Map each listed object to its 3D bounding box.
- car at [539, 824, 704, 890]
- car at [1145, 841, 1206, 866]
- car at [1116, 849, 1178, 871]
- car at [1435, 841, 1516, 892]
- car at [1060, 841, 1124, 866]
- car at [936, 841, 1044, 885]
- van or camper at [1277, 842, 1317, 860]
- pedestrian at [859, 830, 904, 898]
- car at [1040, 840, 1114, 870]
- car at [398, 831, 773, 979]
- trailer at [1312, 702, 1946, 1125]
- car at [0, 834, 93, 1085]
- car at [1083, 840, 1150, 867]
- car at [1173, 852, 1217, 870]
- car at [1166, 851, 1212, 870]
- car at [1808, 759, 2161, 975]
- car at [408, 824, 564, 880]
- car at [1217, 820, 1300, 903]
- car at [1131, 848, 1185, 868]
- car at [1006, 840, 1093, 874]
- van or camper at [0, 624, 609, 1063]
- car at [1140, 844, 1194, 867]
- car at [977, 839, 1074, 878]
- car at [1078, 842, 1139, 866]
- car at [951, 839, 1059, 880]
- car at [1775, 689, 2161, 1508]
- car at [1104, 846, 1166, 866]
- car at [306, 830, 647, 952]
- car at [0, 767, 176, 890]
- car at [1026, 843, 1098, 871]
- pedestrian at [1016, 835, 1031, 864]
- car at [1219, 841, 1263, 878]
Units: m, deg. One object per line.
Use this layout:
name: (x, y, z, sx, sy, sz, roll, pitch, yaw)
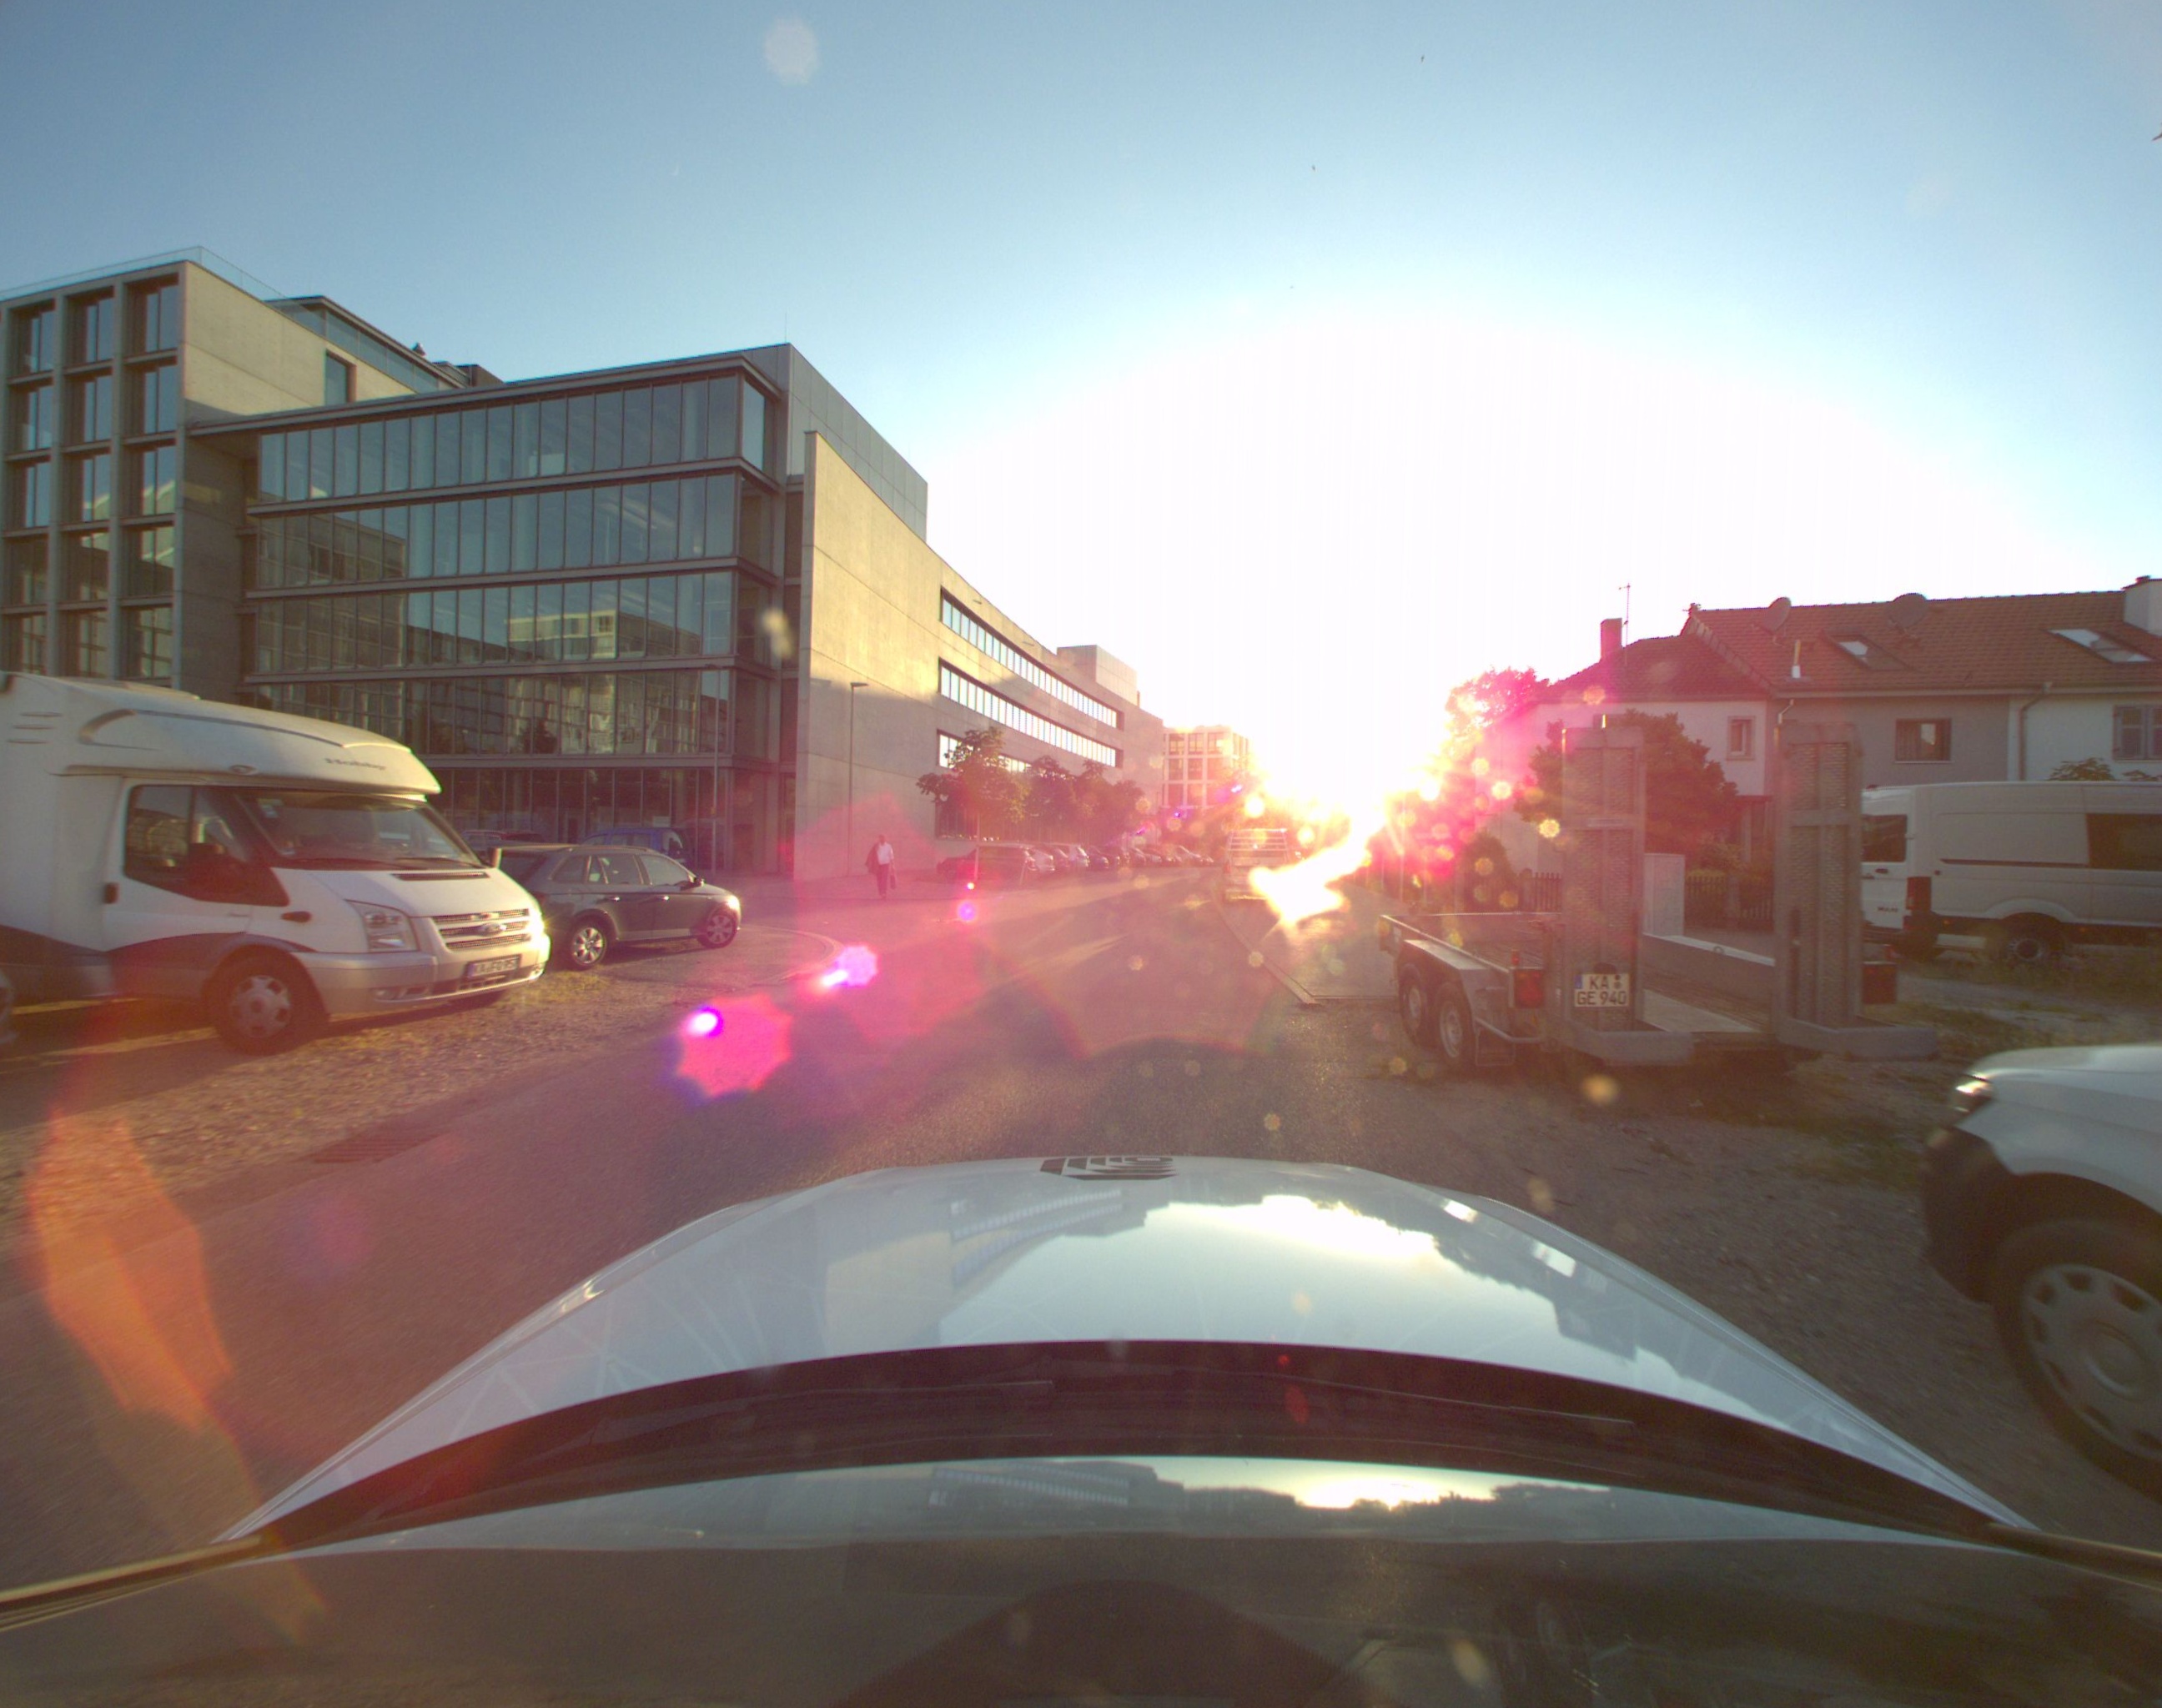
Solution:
car: (-13.802, 0.028, 24.559, 4.059, 1.831, 1.854, 1, 2, 11)
car: (8.499, -0.029, 73.304, 5.034, 1.946, 1.898, 3, 0, 20)
car: (5.174, 0.487, 63.875, 4.359, 1.499, 1.772, 3, 0, 23)
car: (12.163, 0.341, 25.291, 1.517, 1.444, 3.653, 0, 1, 14)
car: (0.709, -0.011, 51.458, 3.676, 1.457, 1.718, 1, 0, 14)
car: (-3.418, 0.306, 30.950, 3.714, 1.481, 1.773, 2, 1, 7)
van or camper: (32.534, -0.430, 122.656, 5.402, 2.483, 1.786, 2, 1, 28)
pedestrian: (-5.563, 0.261, 22.670, 0.846, 1.850, 0.907, 1, 1, 44)
car: (-0.231, 0.052, 46.286, 3.843, 1.511, 1.766, 2, 1, 13)
car: (-6.229, 0.553, 10.982, 1.675, 1.519, 4.376, 2, 0, 13)
trailer: (3.606, 0.281, 6.894, 2.056, 2.211, 5.226, 0, 1, 3)
car: (-8.156, 0.570, 4.294, 3.596, 1.476, 1.691, 2, 0, -3)
car: (2.452, -0.049, 55.879, 4.277, 1.696, 1.904, 1, 0, 15)
car: (10.997, 0.689, 78.541, 3.853, 1.488, 1.660, 3, 1, 21)
car: (10.107, 0.639, 76.308, 3.955, 1.522, 1.613, 3, 0, 19)
car: (13.858, 0.130, 11.085, 5.522, 2.692, 2.062, 1, 2, 15)
car: (-18.820, -0.111, 25.807, 4.013, 1.630, 1.785, 1, 3, 14)
car: (4.935, 0.149, 23.129, 2.053, 2.095, 4.886, 0, 1, 10)
car: (6.487, 0.323, 68.257, 4.110, 1.404, 1.733, 3, 0, 19)
car: (-1.547, 0.130, 40.862, 3.960, 1.511, 1.766, 2, 1, 12)
van or camper: (-8.023, -0.147, 6.788, 6.714, 2.897, 2.410, 2, 0, 2)
car: (7.432, 0.169, 70.092, 4.212, 1.742, 1.733, 3, 0, 19)
car: (-2.418, 0.185, 36.062, 3.977, 1.512, 1.588, 2, 2, 7)
car: (1.815, 0.014, 53.601, 3.674, 1.457, 1.686, 1, 0, 15)
car: (-3.106, 0.206, 33.761, 4.064, 1.528, 1.850, 2, 1, 7)
car: (3.209, 0.561, 0.682, 1.763, 1.831, 4.414, 0, 1, 5)
car: (4.104, 0.127, 61.708, 4.397, 1.464, 1.772, 1, 1, 19)
car: (-8.294, 0.431, 11.651, 1.652, 1.422, 3.734, 1, 0, 11)
car: (-25.683, -0.599, 18.291, 2.192, 2.801, 7.006, 2, 1, 11)
car: (-1.012, 0.160, 44.191, 3.612, 1.361, 1.690, 2, 1, 8)
pedestrian: (-3.519, -0.282, 49.832, 0.641, 1.784, 0.728, 2, 0, 13)
car: (7.101, 0.199, 35.860, 1.728, 1.552, 3.653, 0, 1, 14)
